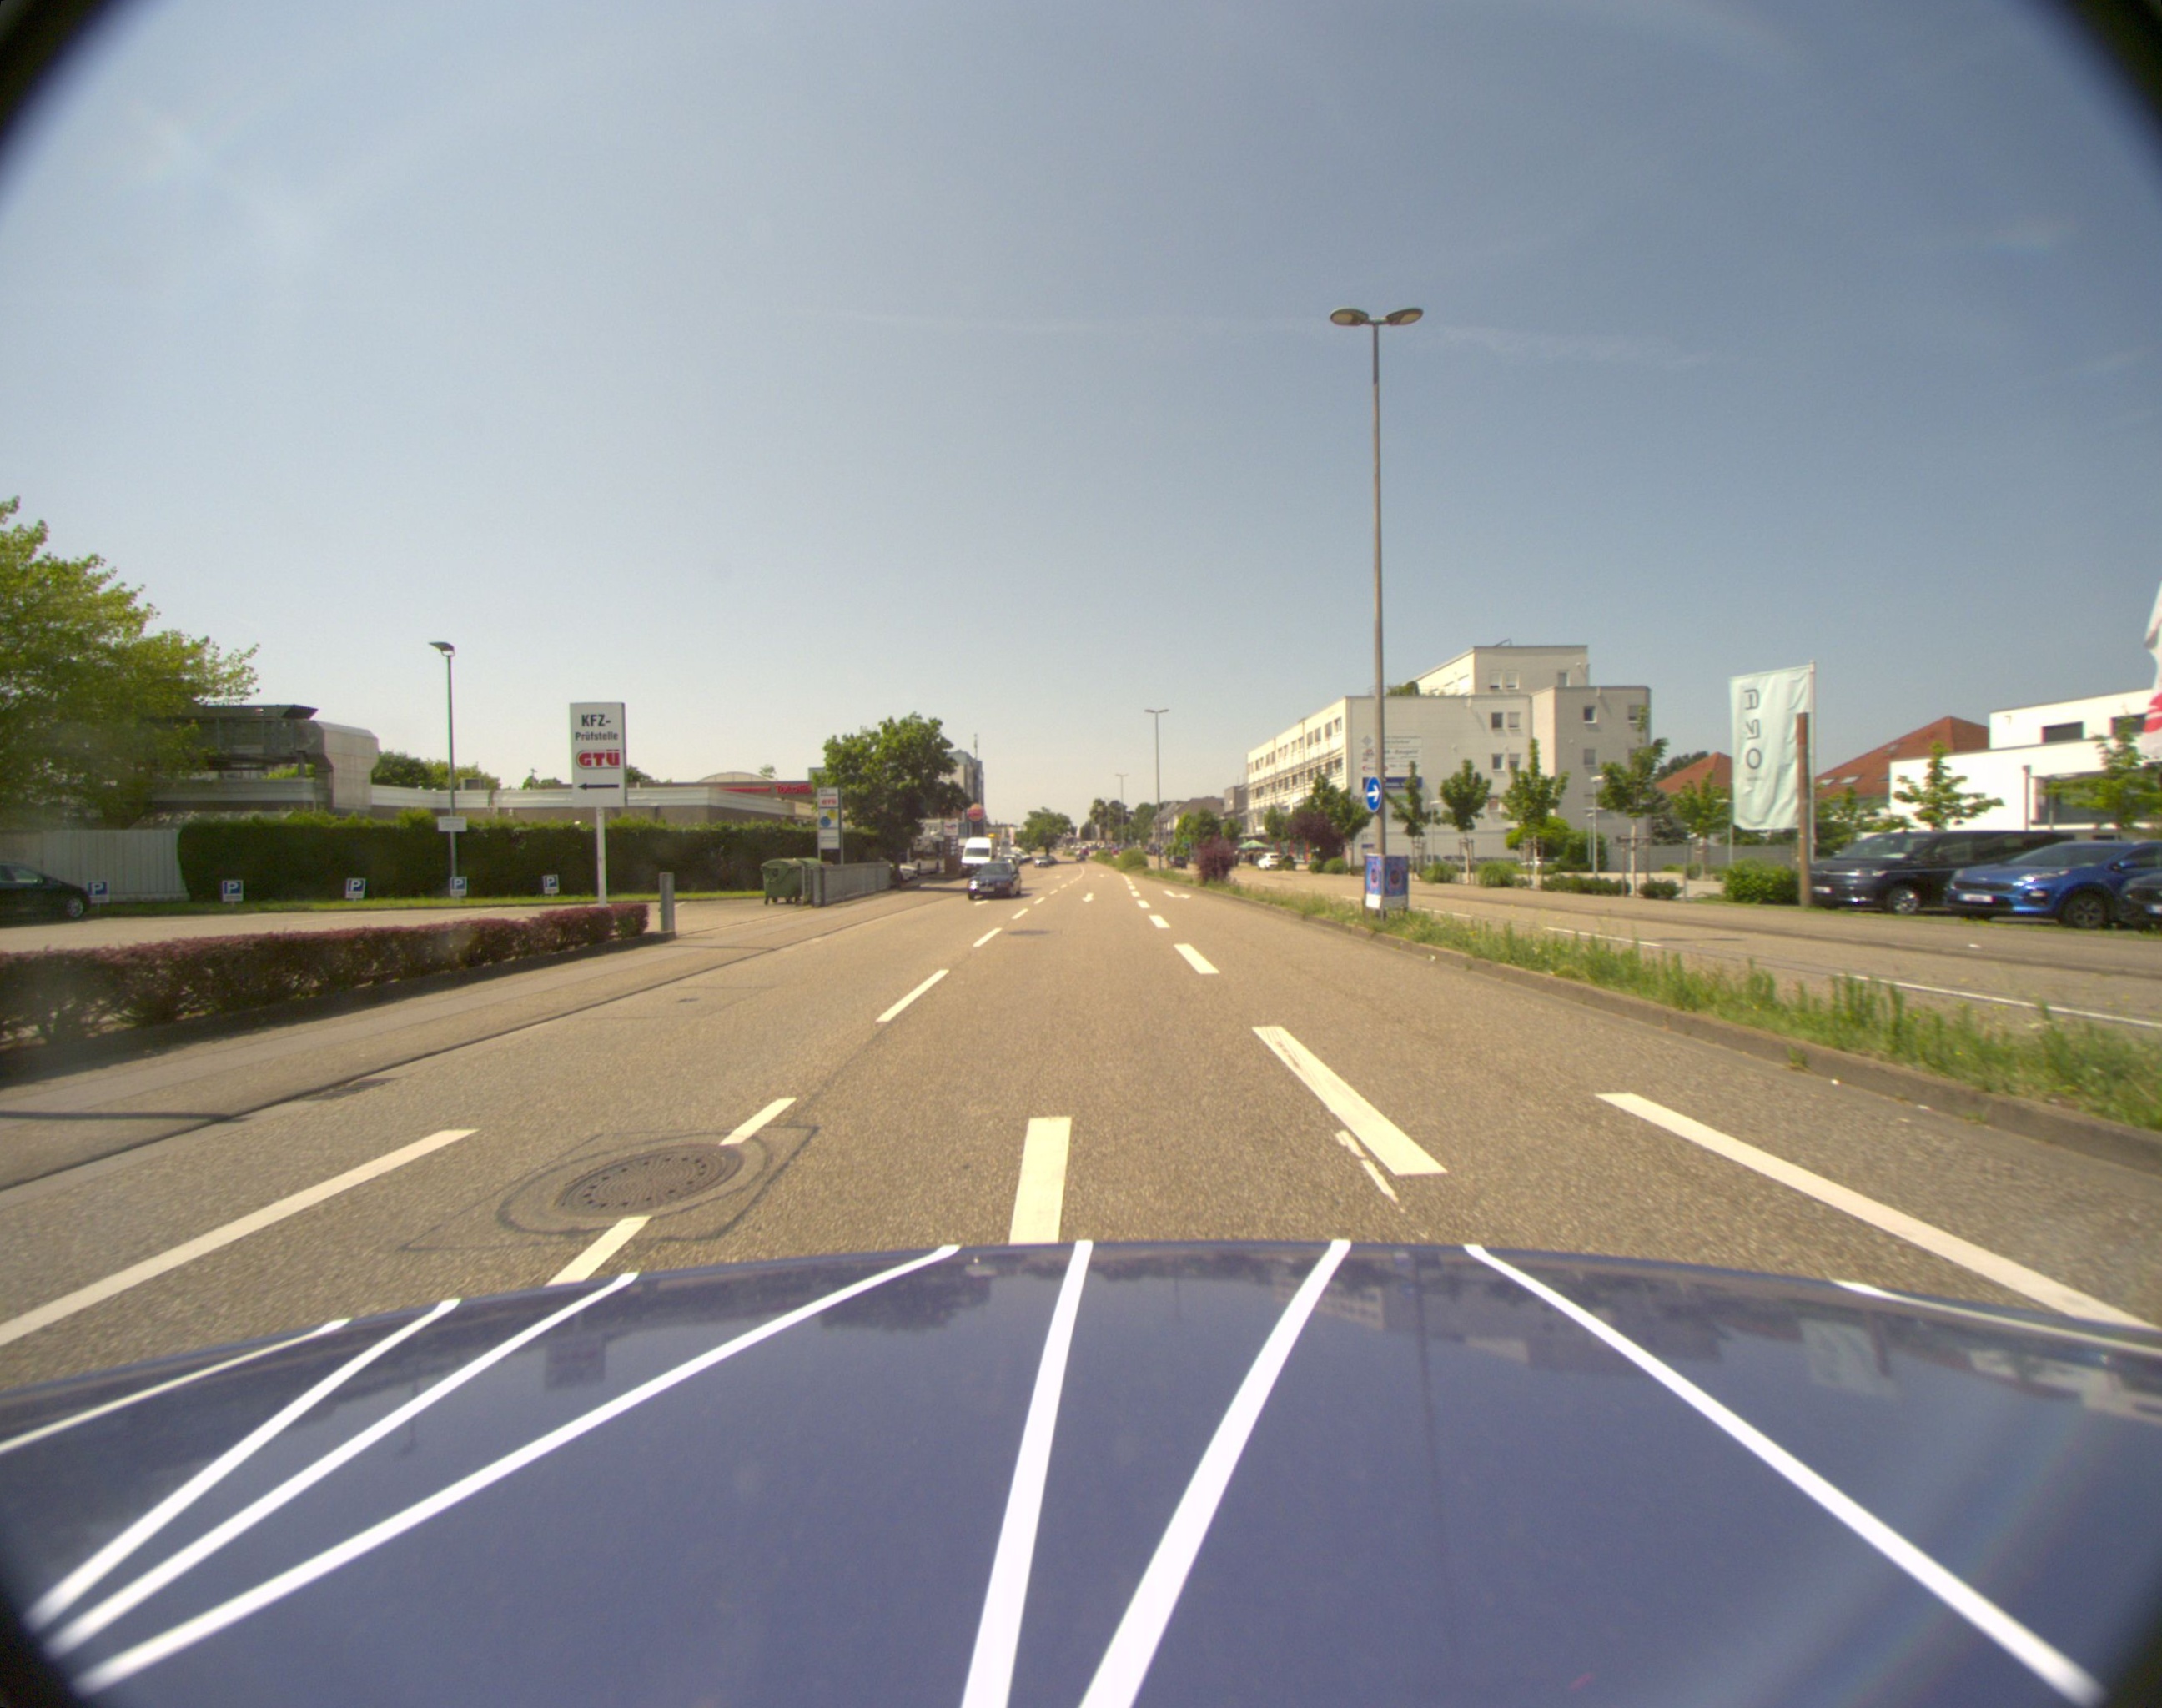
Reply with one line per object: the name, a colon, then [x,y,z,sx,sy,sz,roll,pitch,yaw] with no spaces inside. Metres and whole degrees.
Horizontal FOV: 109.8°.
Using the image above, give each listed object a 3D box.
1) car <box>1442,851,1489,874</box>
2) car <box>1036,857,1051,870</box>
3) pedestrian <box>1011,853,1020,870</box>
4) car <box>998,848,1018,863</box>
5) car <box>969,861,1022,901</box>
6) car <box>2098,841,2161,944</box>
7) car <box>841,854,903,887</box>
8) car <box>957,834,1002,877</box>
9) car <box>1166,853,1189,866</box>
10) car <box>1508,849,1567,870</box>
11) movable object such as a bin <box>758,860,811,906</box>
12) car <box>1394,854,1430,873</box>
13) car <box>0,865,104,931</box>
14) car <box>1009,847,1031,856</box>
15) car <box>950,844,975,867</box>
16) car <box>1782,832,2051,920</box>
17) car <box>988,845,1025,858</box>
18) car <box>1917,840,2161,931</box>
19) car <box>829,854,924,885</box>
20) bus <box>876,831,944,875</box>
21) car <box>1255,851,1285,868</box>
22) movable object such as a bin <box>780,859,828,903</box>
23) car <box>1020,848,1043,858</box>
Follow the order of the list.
car: [26.639,0.562,52.725,1.557,1.510,3.556,0,0,2]
car: [-4.860,1.235,99.526,1.867,1.550,3.999,0,0,-1]
pedestrian: [-6.065,0.669,70.515,0.704,1.572,0.820,2,1,-2]
car: [-8.181,0.132,85.528,1.860,1.572,3.999,1,0,0]
car: [-3.245,0.998,29.429,1.632,1.331,3.756,-2,0,0]
car: [18.854,0.673,11.725,3.998,1.599,1.759,2,1,-2]
car: [-10.119,0.749,37.058,1.798,1.458,4.636,2,0,-1]
car: [-7.092,0.091,53.881,2.183,2.757,7.276,2,0,-1]
car: [10.724,0.579,84.593,1.832,1.452,4.711,0,0,-1]
car: [31.746,0.359,52.955,1.924,1.376,3.834,0,0,3]
movable object such as a bin: [-9.702,0.932,24.902,1.133,1.461,1.489,0,1,0]
car: [23.629,0.661,54.274,1.456,1.332,2.833,0,0,2]
car: [-25.850,1.040,17.863,1.518,1.463,3.993,0,0,-18]
car: [-11.299,-0.490,139.730,3.999,1.755,1.724,0,1,-5]
car: [-13.300,0.128,85.593,2.058,2.421,5.574,0,0,-2]
car: [18.903,0.464,17.335,3.997,1.871,1.999,0,1,-1]
car: [-14.126,-0.464,143.820,6.872,2.589,1.728,0,1,25]
car: [19.048,0.561,14.465,3.997,1.599,2.089,0,0,-1]
car: [-11.159,0.814,41.667,4.633,1.518,1.907,2,1,2]
bus: [-12.894,-0.082,58.105,2.755,3.134,9.079,0,0,2]
car: [17.038,0.507,68.681,1.696,1.440,3.665,-2,0,-1]
movable object such as a bin: [-9.642,0.922,26.516,1.133,1.461,1.489,0,1,0]
car: [-8.673,-0.149,133.790,3.999,1.755,1.724,0,1,-5]
